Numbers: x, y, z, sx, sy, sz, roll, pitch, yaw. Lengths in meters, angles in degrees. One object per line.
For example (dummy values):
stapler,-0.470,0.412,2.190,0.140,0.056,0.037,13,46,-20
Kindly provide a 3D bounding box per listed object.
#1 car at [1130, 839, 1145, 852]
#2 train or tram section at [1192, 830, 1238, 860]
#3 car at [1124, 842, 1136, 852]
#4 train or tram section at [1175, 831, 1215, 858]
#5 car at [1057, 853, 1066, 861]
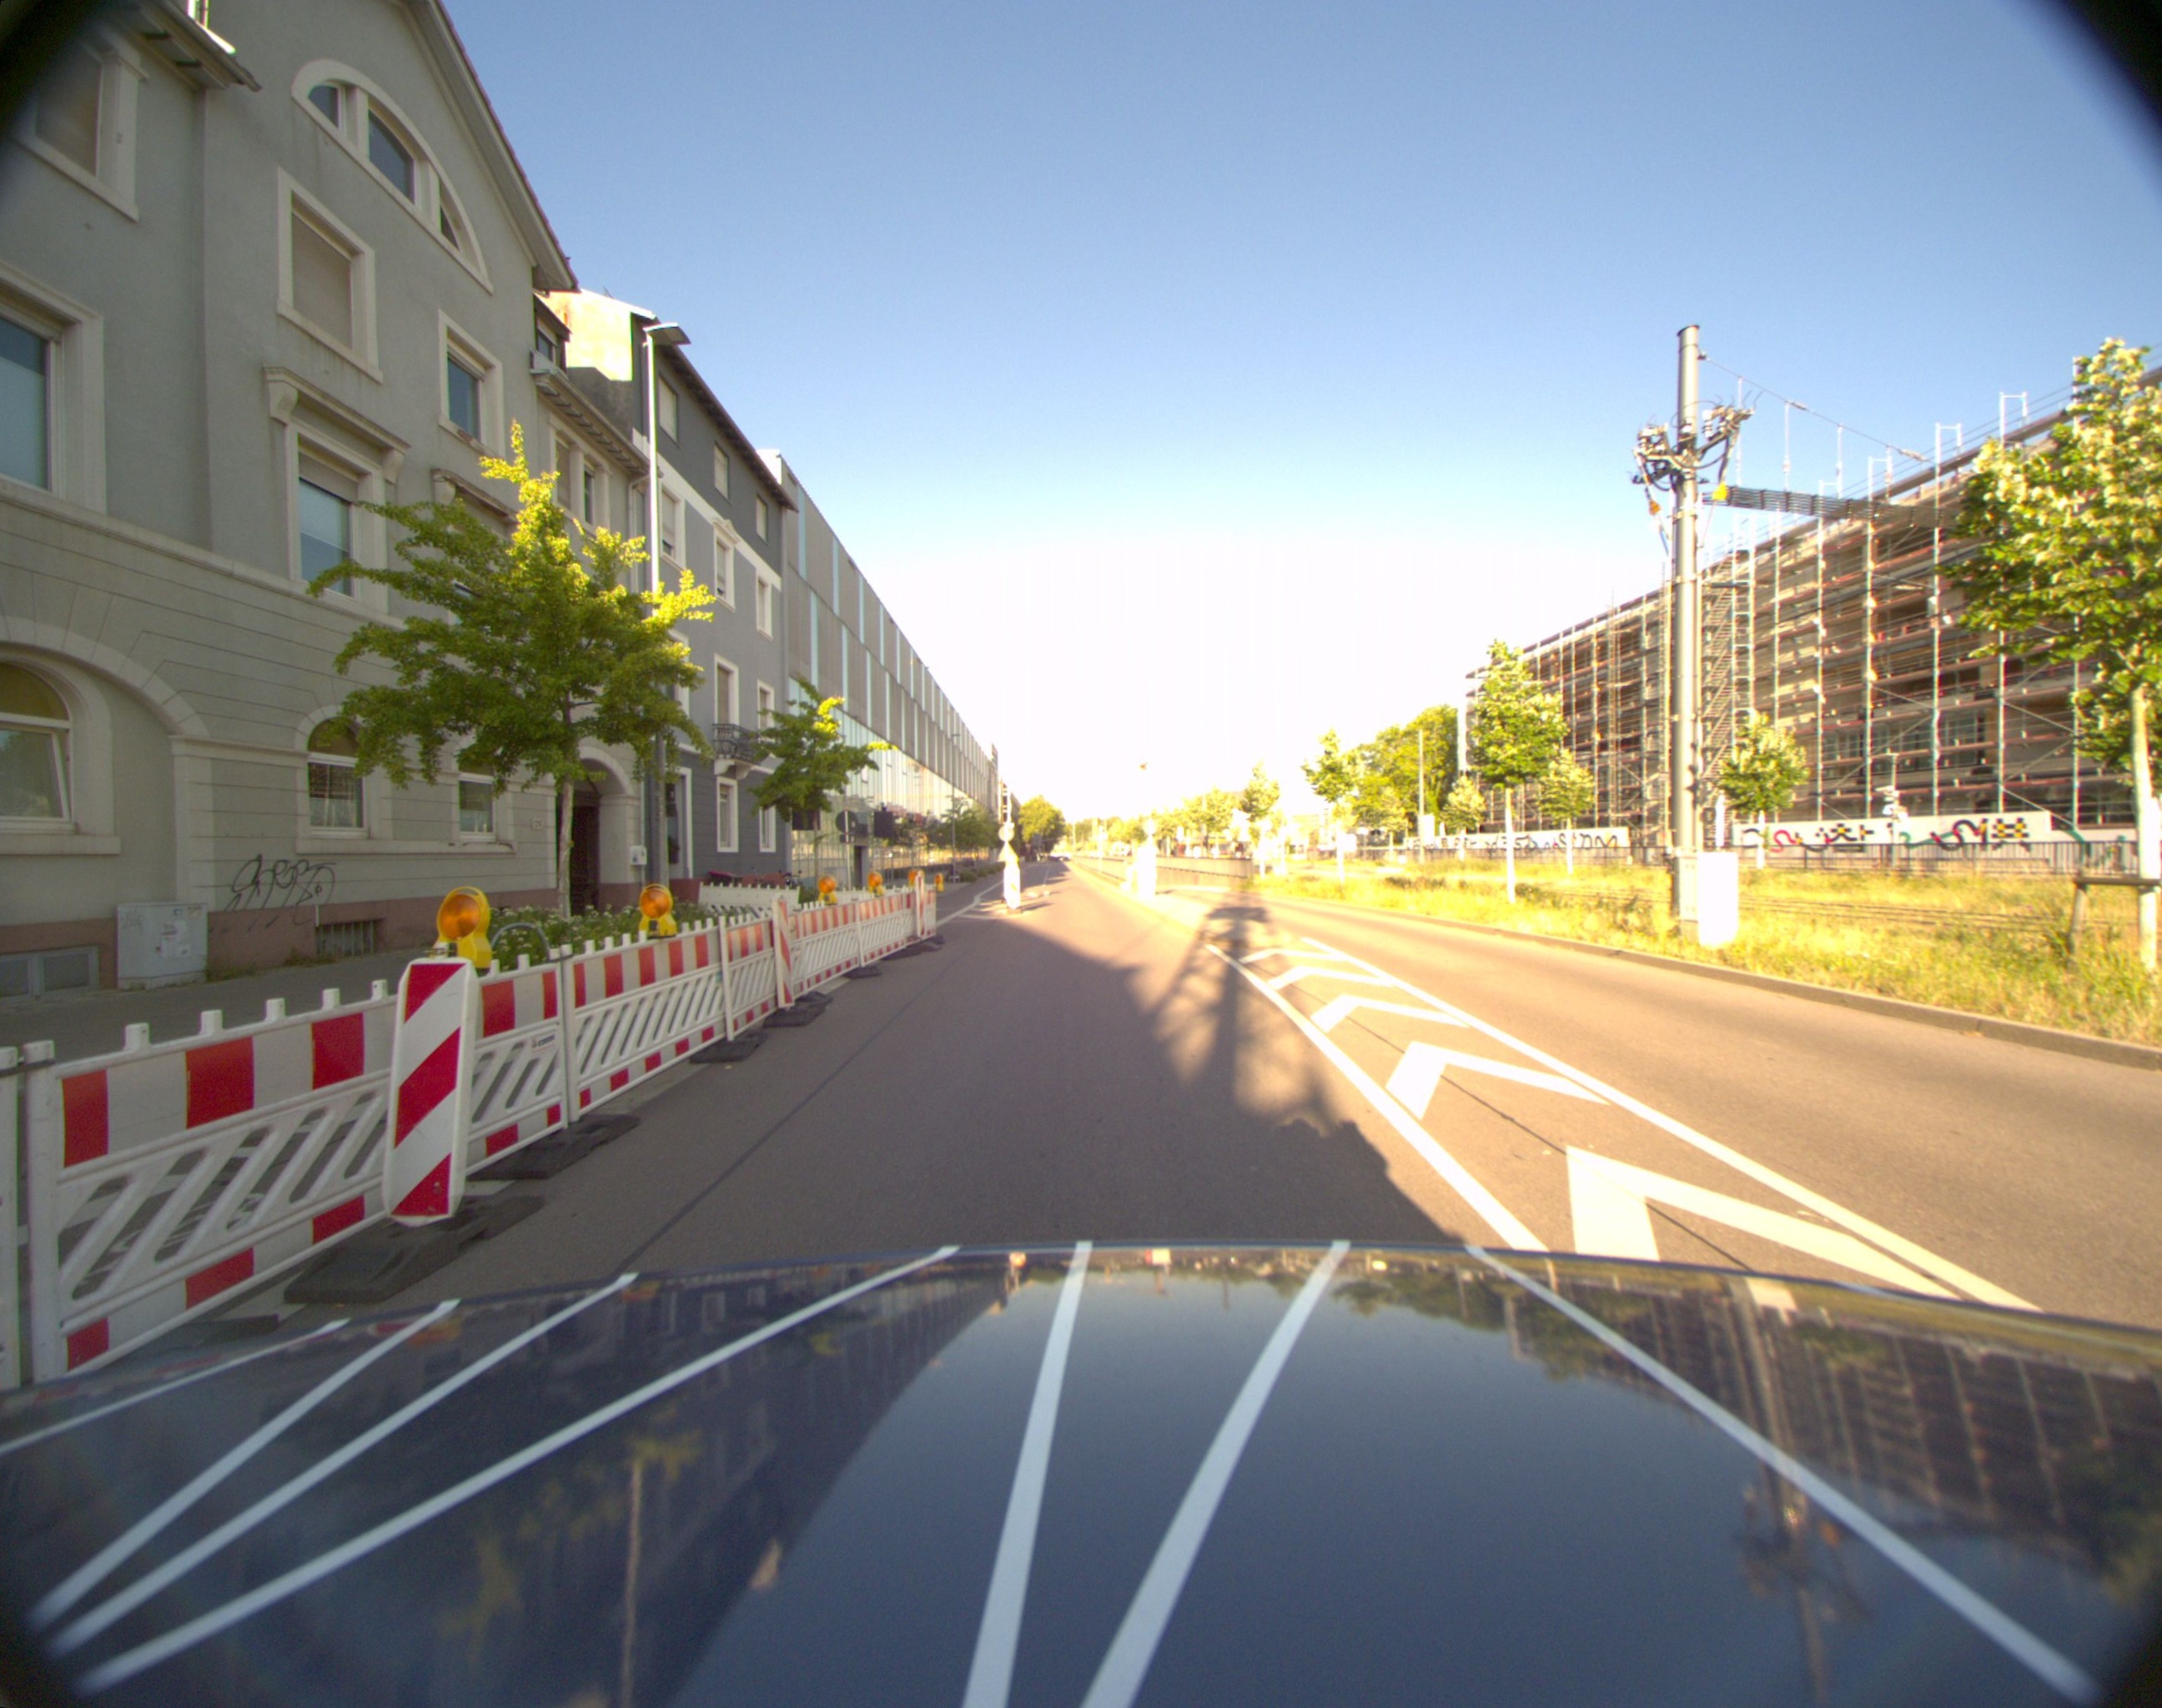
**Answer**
car,9.104,-1.419,122.488,1.998,2.002,3.999,-2,1,1
train or tram section,16.423,-1.111,94.179,2.954,3.378,12.630,-2,1,-2
car,8.944,-1.314,139.016,1.998,1.740,3.999,-2,1,1
train or tram section,16.054,-1.323,107.907,2.954,3.378,14.761,-2,1,-2
car,-4.823,0.782,187.275,1.941,2.002,3.825,-1,0,-3
